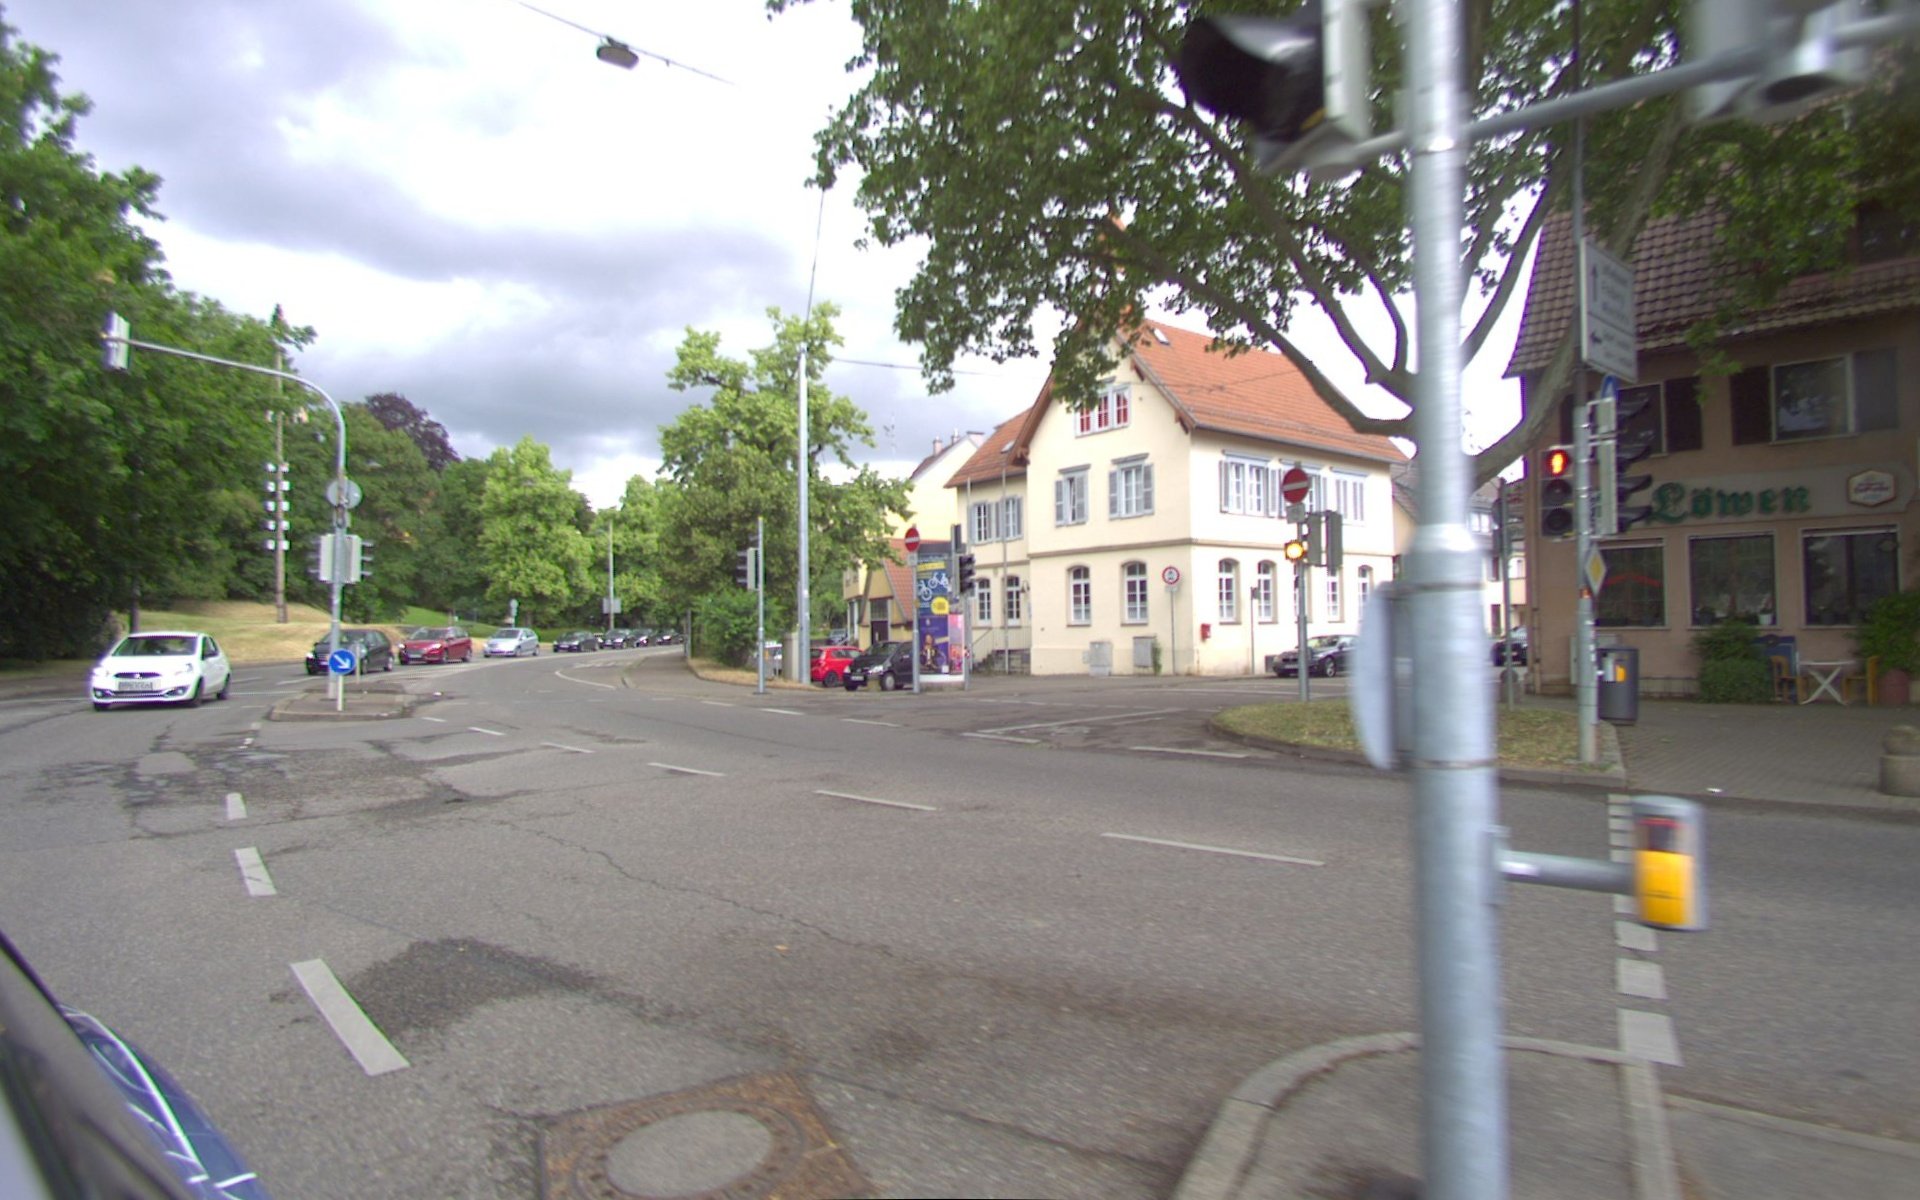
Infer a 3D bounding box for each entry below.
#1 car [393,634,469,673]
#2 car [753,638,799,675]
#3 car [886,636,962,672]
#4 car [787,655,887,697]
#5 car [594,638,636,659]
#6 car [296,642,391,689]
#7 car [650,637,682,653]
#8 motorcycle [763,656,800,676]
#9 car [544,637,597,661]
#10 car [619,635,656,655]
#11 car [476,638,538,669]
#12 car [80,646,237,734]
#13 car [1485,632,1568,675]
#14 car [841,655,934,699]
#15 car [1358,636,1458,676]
[{"bbox_3d":[-23.538,2.352,45.186,1.650,1.654,4.107,0,-2,-7],"label":"car"},{"bbox_3d":[-8.673,2.611,47.518,1.869,1.640,4.010,0,-2,-14],"label":"car"},{"bbox_3d":[-1.657,2.404,45.643,1.628,1.503,3.486,1,-2,-41],"label":"car"},{"bbox_3d":[-4.508,2.776,37.374,1.598,1.364,3.582,-2,-2,39],"label":"car"},{"bbox_3d":[-24.865,3.473,73.119,1.674,1.422,3.981,0,-2,1],"label":"car"},{"bbox_3d":[-21.698,2.264,35.781,1.703,1.532,4.010,0,-2,-13],"label":"car"},{"bbox_3d":[-24.759,3.784,85.332,1.623,1.279,3.624,0,-2,1],"label":"car"},{"bbox_3d":[-7.714,2.839,43.658,1.558,0.830,0.419,0,-2,-12],"label":"motorcycle"},{"bbox_3d":[-25.118,3.123,65.425,1.830,1.469,3.999,0,-2,1],"label":"car"},{"bbox_3d":[-25.168,3.501,79.016,1.684,1.457,3.866,0,-2,0],"label":"car"},{"bbox_3d":[-24.518,2.861,54.957,1.758,1.581,4.002,0,-2,-3],"label":"car"},{"bbox_3d":[-15.896,1.704,20.283,1.601,1.520,4.013,0,-2,-26],"label":"car"},{"bbox_3d":[23.751,2.193,42.407,3.782,1.696,1.749,1,-3,-39],"label":"car"},{"bbox_3d":[-2.239,2.400,32.133,1.475,1.320,3.370,-1,-4,25],"label":"car"},{"bbox_3d":[15.991,1.946,36.055,3.803,1.325,1.715,1,-2,-39],"label":"car"}]
